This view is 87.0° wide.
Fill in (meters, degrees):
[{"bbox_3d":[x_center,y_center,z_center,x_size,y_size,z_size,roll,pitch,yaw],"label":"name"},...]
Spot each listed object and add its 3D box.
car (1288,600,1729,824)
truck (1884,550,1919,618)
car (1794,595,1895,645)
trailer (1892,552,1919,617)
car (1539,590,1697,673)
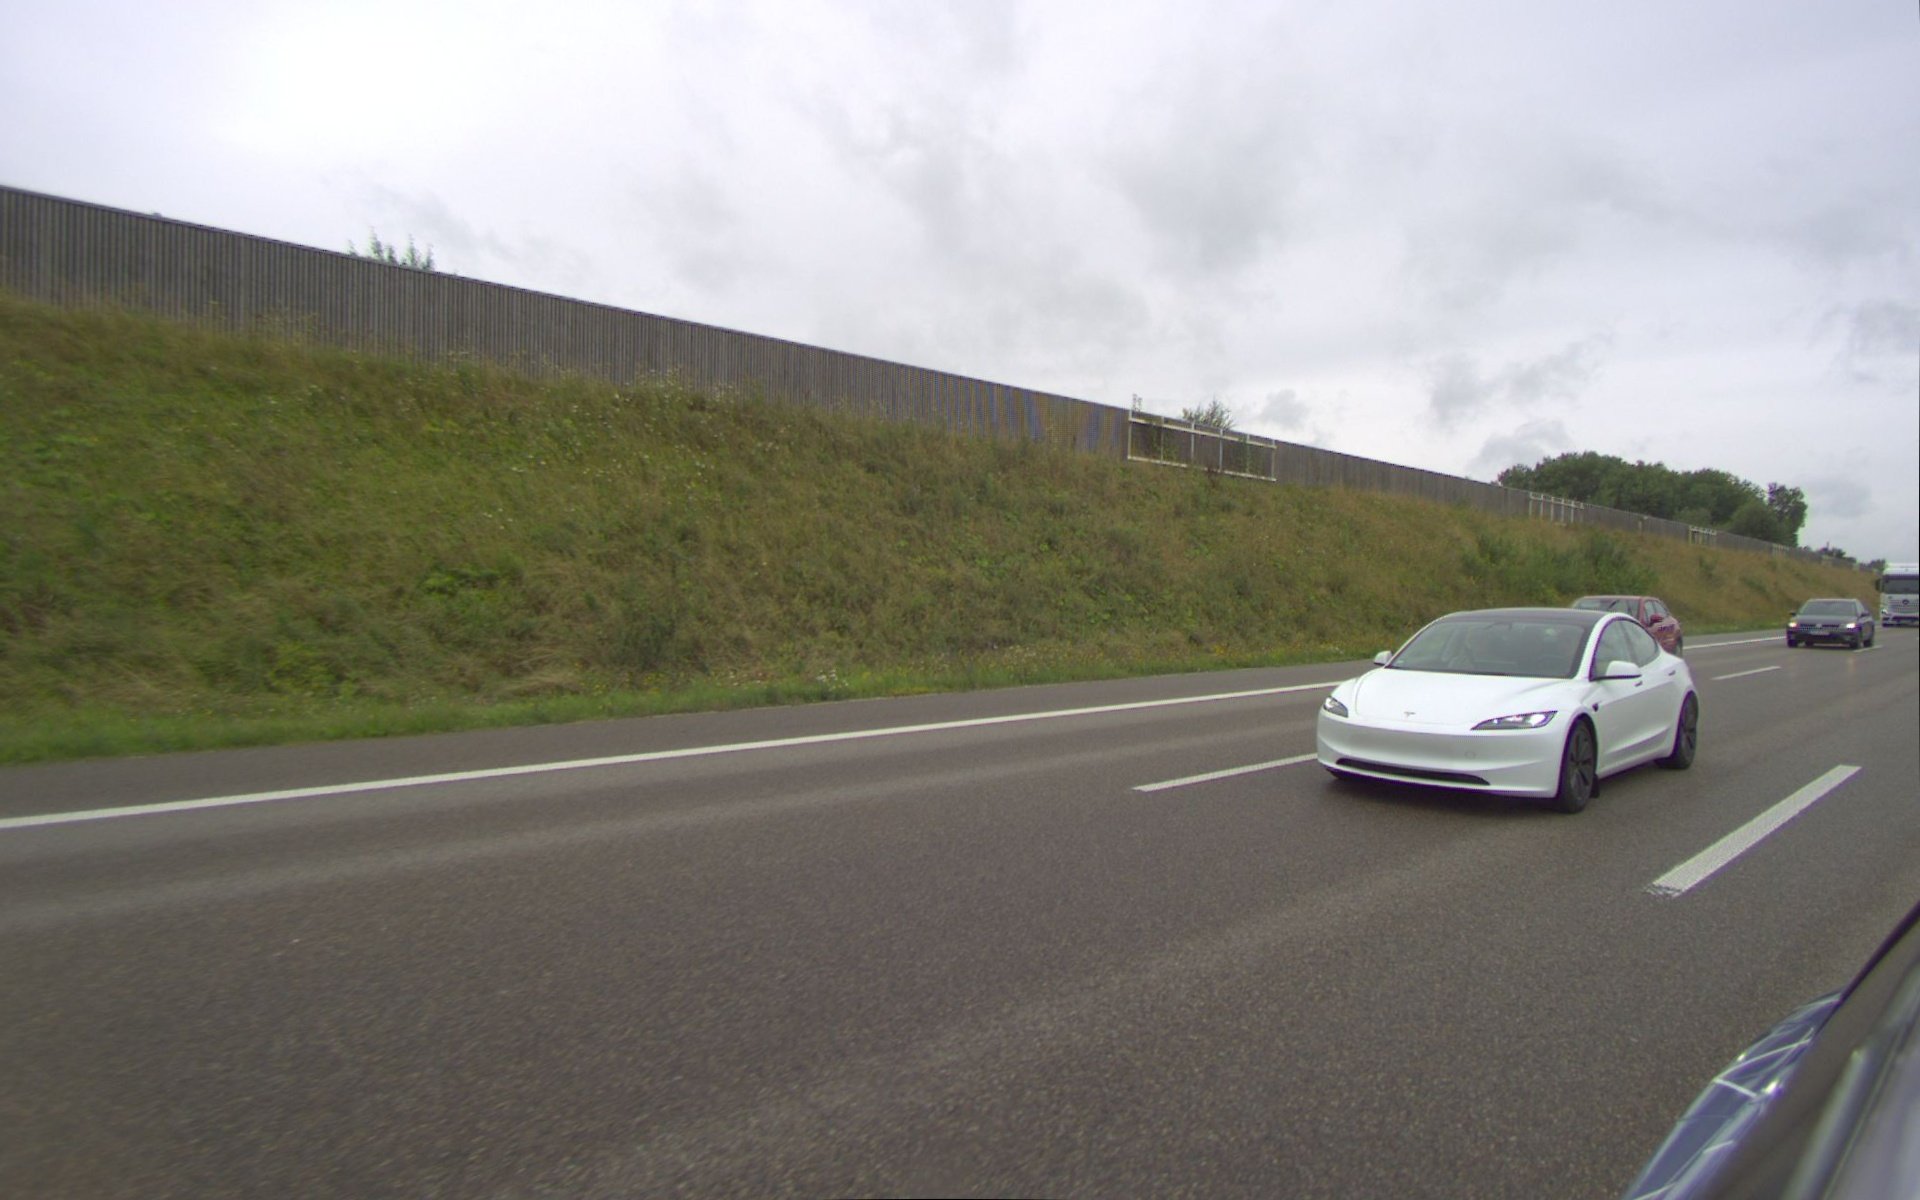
[{"bbox_3d":[4.925,0.712,8.738,4.730,1.380,1.876,-1,0,-42],"label":"car"},{"bbox_3d":[60.428,-1.002,63.504,6.839,4.077,3.085,-1,0,-43],"label":"truck"},{"bbox_3d":[29.450,0.615,33.659,4.407,1.508,1.927,-1,0,-41],"label":"car"},{"bbox_3d":[66.340,-1.070,68.911,14.966,4.077,3.085,-1,0,-43],"label":"trailer"},{"bbox_3d":[13.788,0.577,21.128,3.933,1.554,1.875,-1,0,-43],"label":"car"}]
